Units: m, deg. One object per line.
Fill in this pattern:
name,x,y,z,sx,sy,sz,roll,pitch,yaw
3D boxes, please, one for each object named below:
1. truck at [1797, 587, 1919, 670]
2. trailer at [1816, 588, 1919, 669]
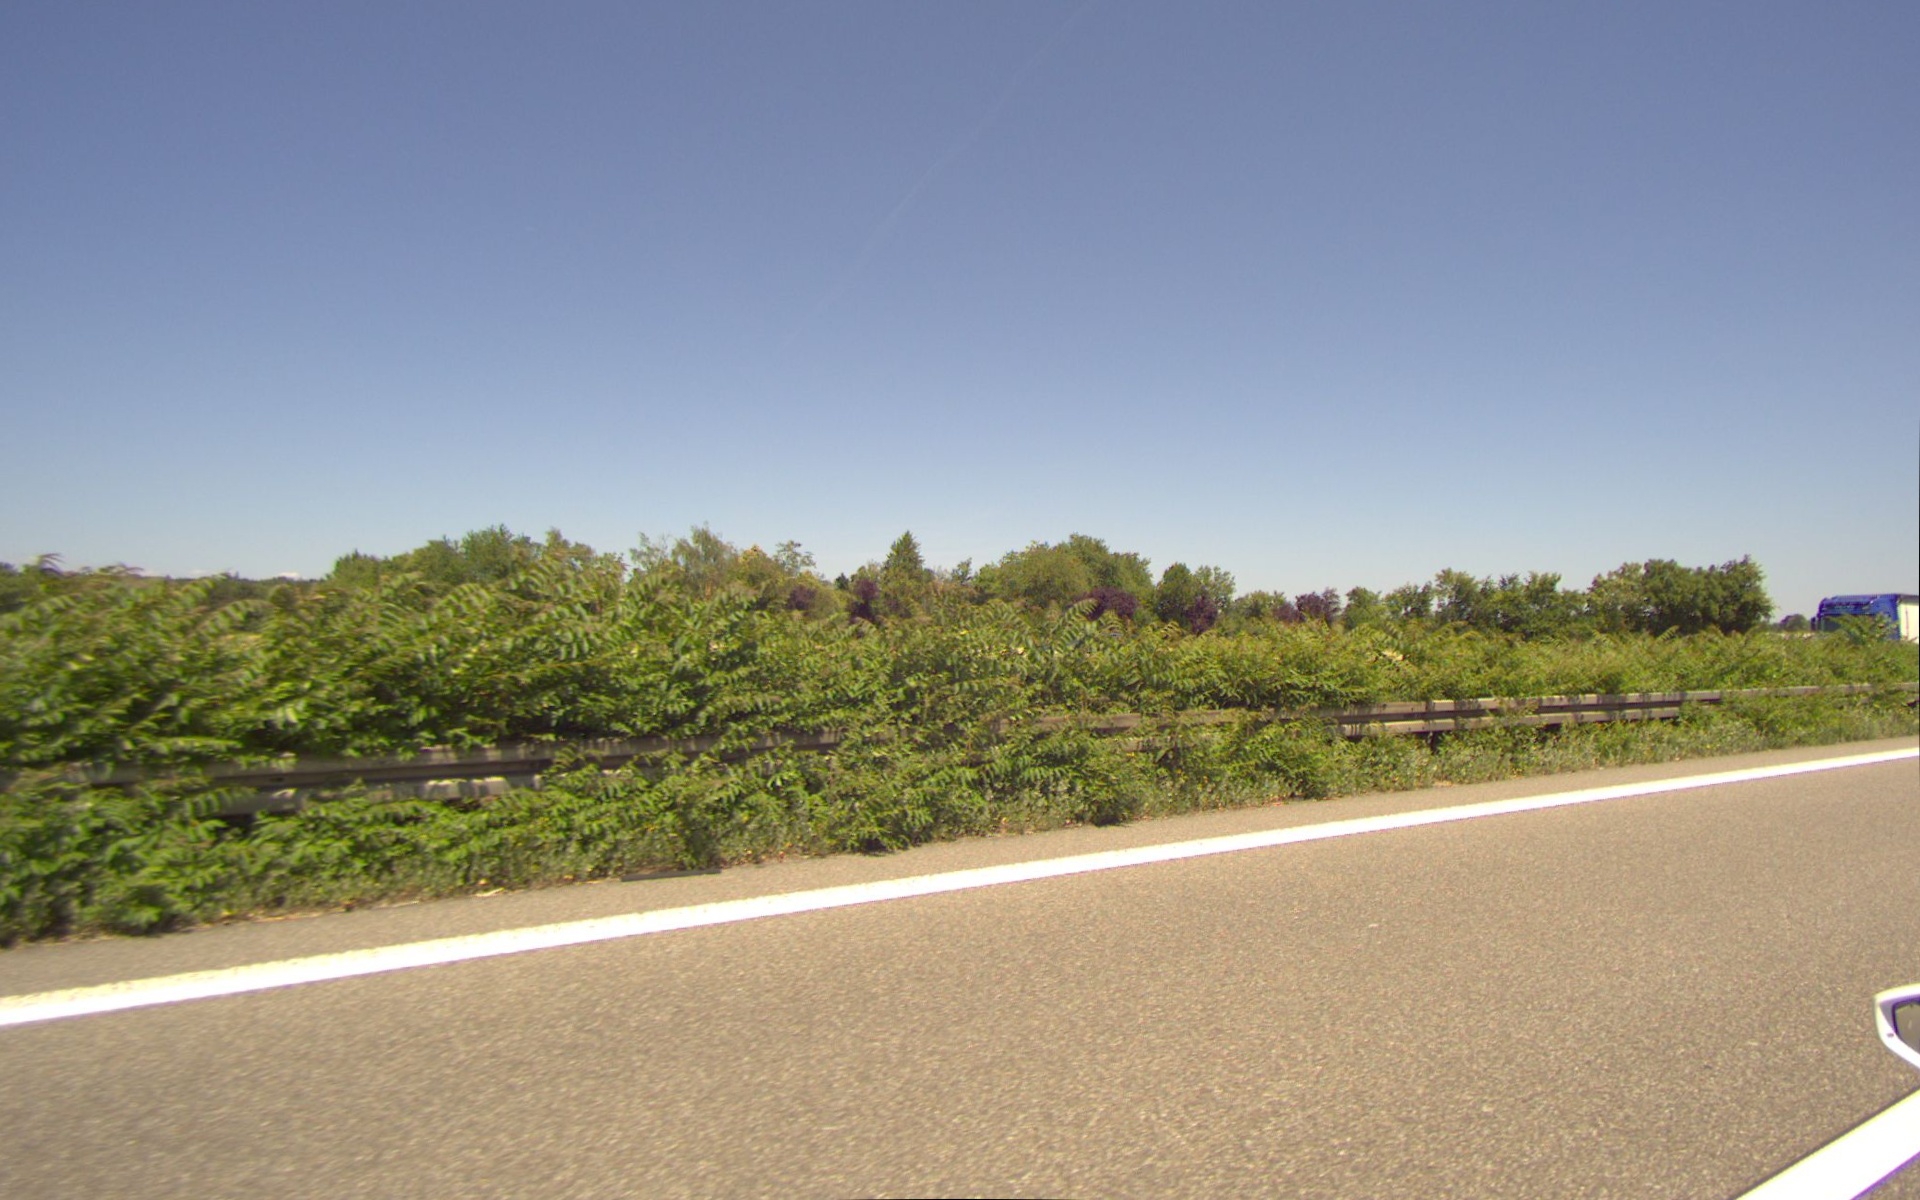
truck,44.481,1.400,49.583,5.766,3.883,3.119,1,-1,-31
trailer,49.924,1.535,52.838,14.133,3.883,3.119,1,-1,-31
